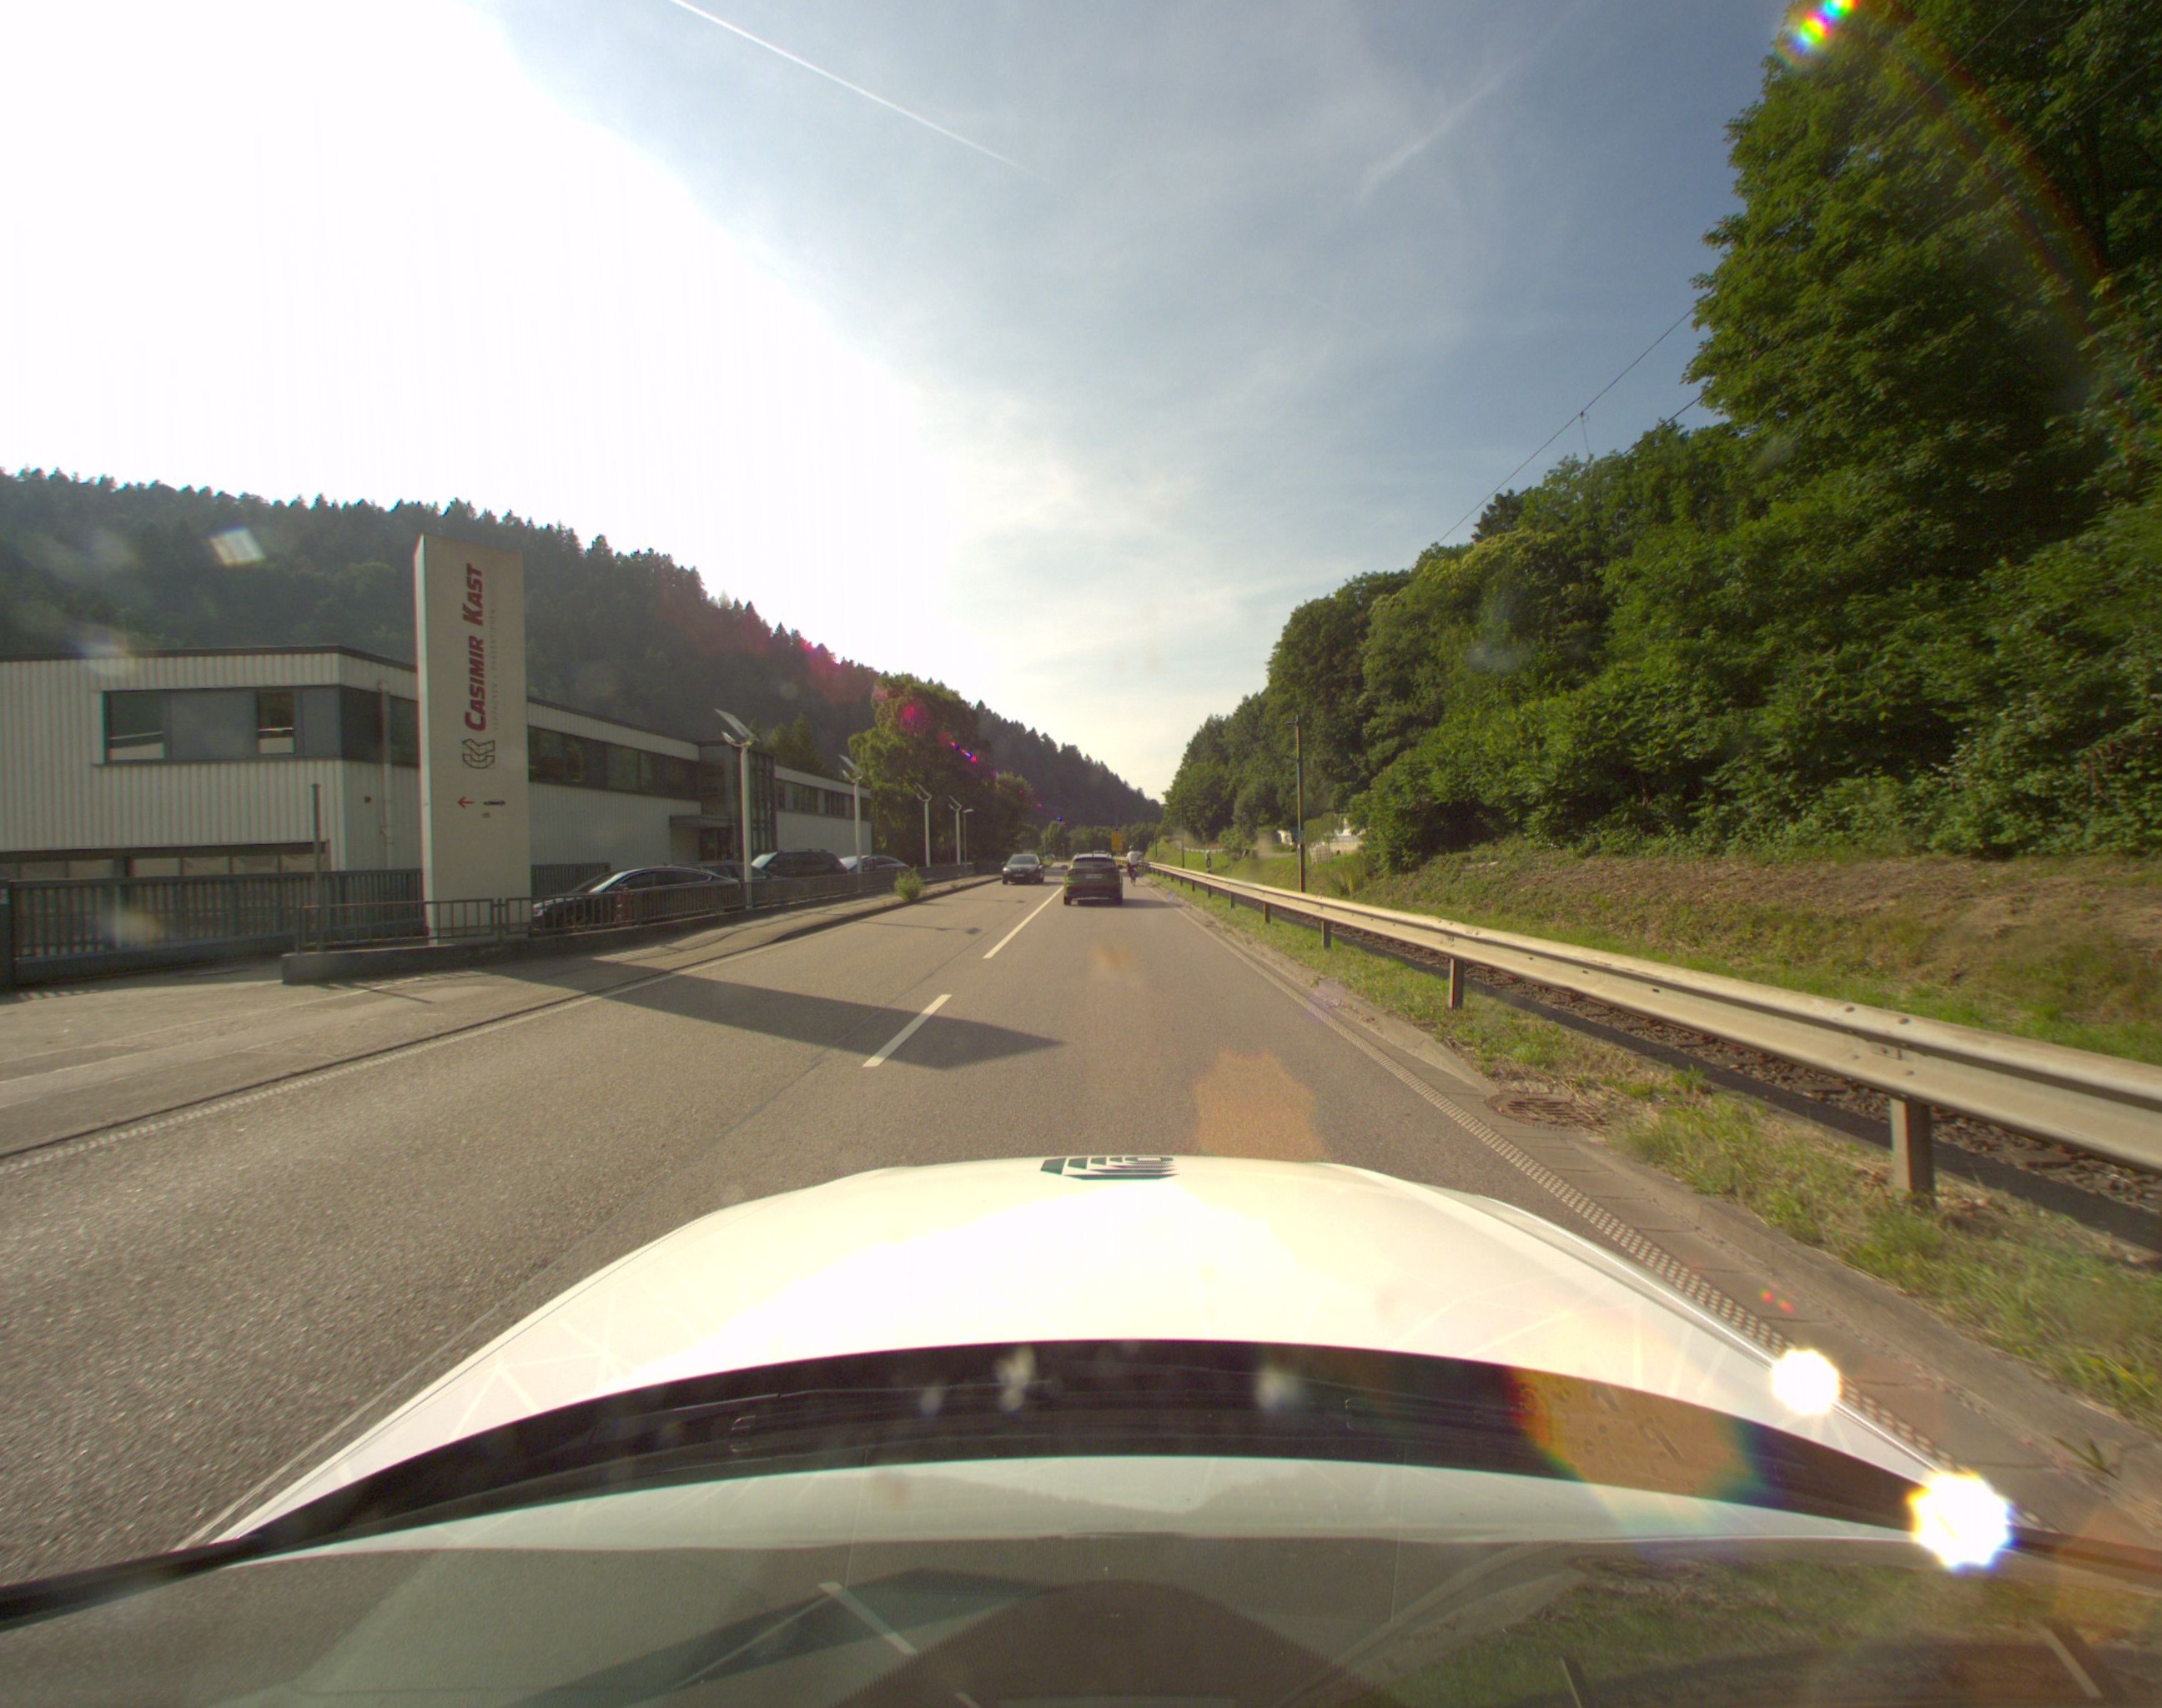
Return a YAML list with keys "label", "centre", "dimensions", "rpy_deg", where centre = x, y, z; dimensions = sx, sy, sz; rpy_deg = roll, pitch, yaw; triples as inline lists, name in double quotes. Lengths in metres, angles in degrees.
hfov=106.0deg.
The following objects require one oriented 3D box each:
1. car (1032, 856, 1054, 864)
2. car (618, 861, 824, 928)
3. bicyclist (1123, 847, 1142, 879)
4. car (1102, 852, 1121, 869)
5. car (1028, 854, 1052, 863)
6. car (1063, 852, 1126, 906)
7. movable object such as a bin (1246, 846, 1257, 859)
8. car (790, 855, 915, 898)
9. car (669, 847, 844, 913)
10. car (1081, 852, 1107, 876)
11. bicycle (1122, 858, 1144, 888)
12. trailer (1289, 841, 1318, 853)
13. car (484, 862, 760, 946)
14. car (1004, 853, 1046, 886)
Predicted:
- label: "car"
  centre: [-7.662, 1.173, 164.532]
  dimensions: [4.243, 1.433, 1.557]
  rpy_deg: [-1, 0, 1]
- label: "car"
  centre: [-9.193, 0.972, 21.240]
  dimensions: [1.690, 1.439, 4.764]
  rpy_deg: [-2, 0, 31]
- label: "bicyclist"
  centre: [2.321, 0.383, 36.515]
  dimensions: [0.779, 1.412, 0.675]
  rpy_deg: [-1, 0, -1]
- label: "car"
  centre: [3.067, 0.648, 82.677]
  dimensions: [1.733, 1.602, 4.000]
  rpy_deg: [0, 0, 0]
- label: "car"
  centre: [-7.225, 0.831, 143.775]
  dimensions: [4.243, 1.433, 1.557]
  rpy_deg: [-1, 0, 1]
- label: "car"
  centre: [0.398, 0.694, 24.811]
  dimensions: [1.733, 1.508, 4.000]
  rpy_deg: [-1, 0, 0]
- label: "movable object such as a bin"
  centre: [15.584, -0.151, 74.522]
  dimensions: [0.850, 1.107, 0.936]
  rpy_deg: [-1, 0, 7]
- label: "car"
  centre: [-8.886, 0.834, 32.101]
  dimensions: [1.975, 1.562, 4.881]
  rpy_deg: [-1, -1, 26]
- label: "car"
  centre: [-9.958, 0.734, 25.373]
  dimensions: [1.974, 1.741, 4.721]
  rpy_deg: [-1, 1, 34]
- label: "car"
  centre: [0.893, 0.688, 57.564]
  dimensions: [1.733, 1.602, 4.000]
  rpy_deg: [0, 0, 0]
- label: "bicycle"
  centre: [2.325, 0.830, 36.442]
  dimensions: [0.809, 1.250, 2.122]
  rpy_deg: [-1, 0, -1]
- label: "trailer"
  centre: [24.055, -0.759, 88.092]
  dimensions: [2.060, 1.192, 3.713]
  rpy_deg: [0, -1, -1]
- label: "car"
  centre: [-9.291, 0.934, 16.979]
  dimensions: [1.690, 1.375, 4.764]
  rpy_deg: [-2, 0, 31]
- label: "car"
  centre: [-2.727, 0.723, 40.286]
  dimensions: [1.671, 1.485, 4.247]
  rpy_deg: [1, 0, 1]
